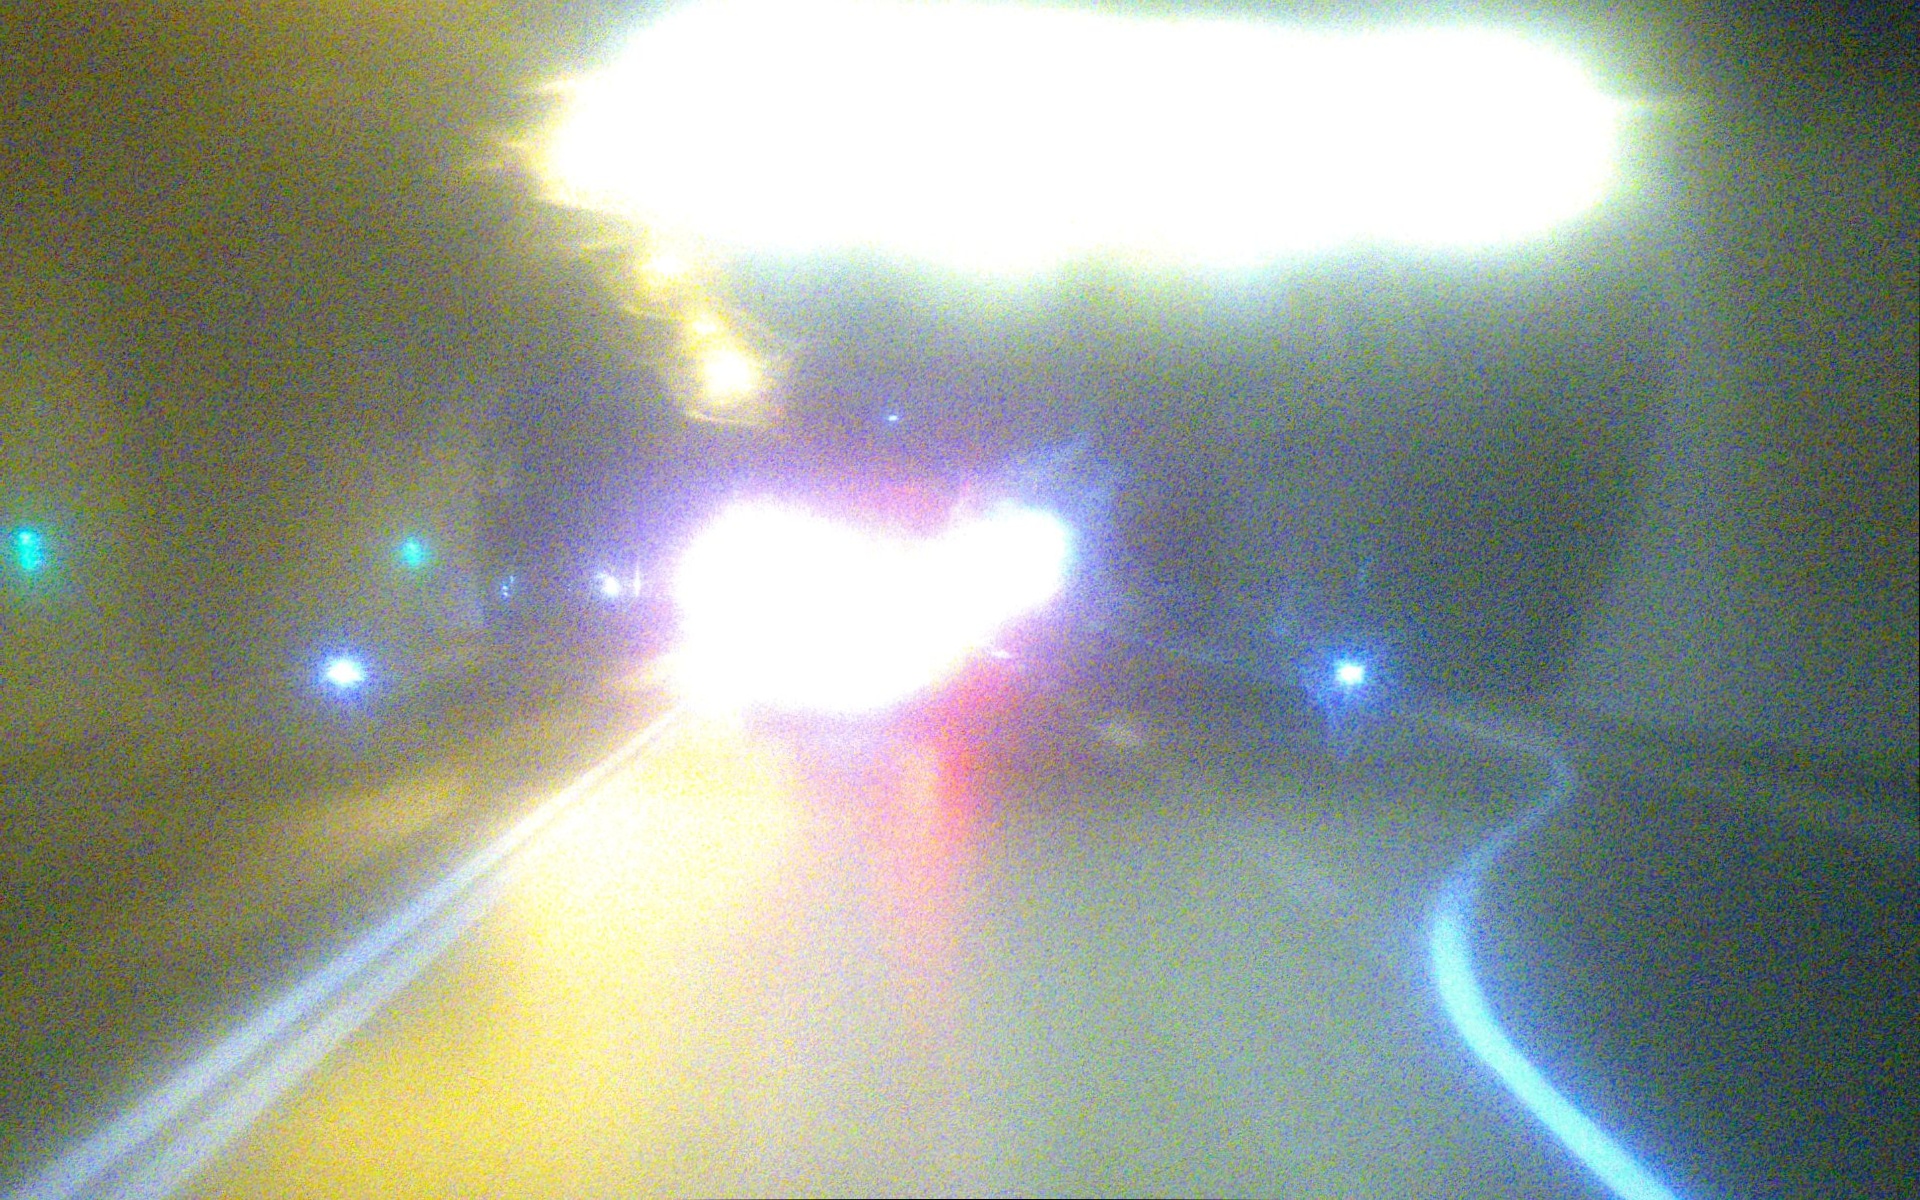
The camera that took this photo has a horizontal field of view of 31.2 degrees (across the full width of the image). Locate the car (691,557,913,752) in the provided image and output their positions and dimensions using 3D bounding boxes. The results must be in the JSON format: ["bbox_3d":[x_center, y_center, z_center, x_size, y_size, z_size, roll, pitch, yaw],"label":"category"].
[{"bbox_3d":[-1.359,0.451,31.037,1.808,1.616,4.000,1,0,0],"label":"car"}]
